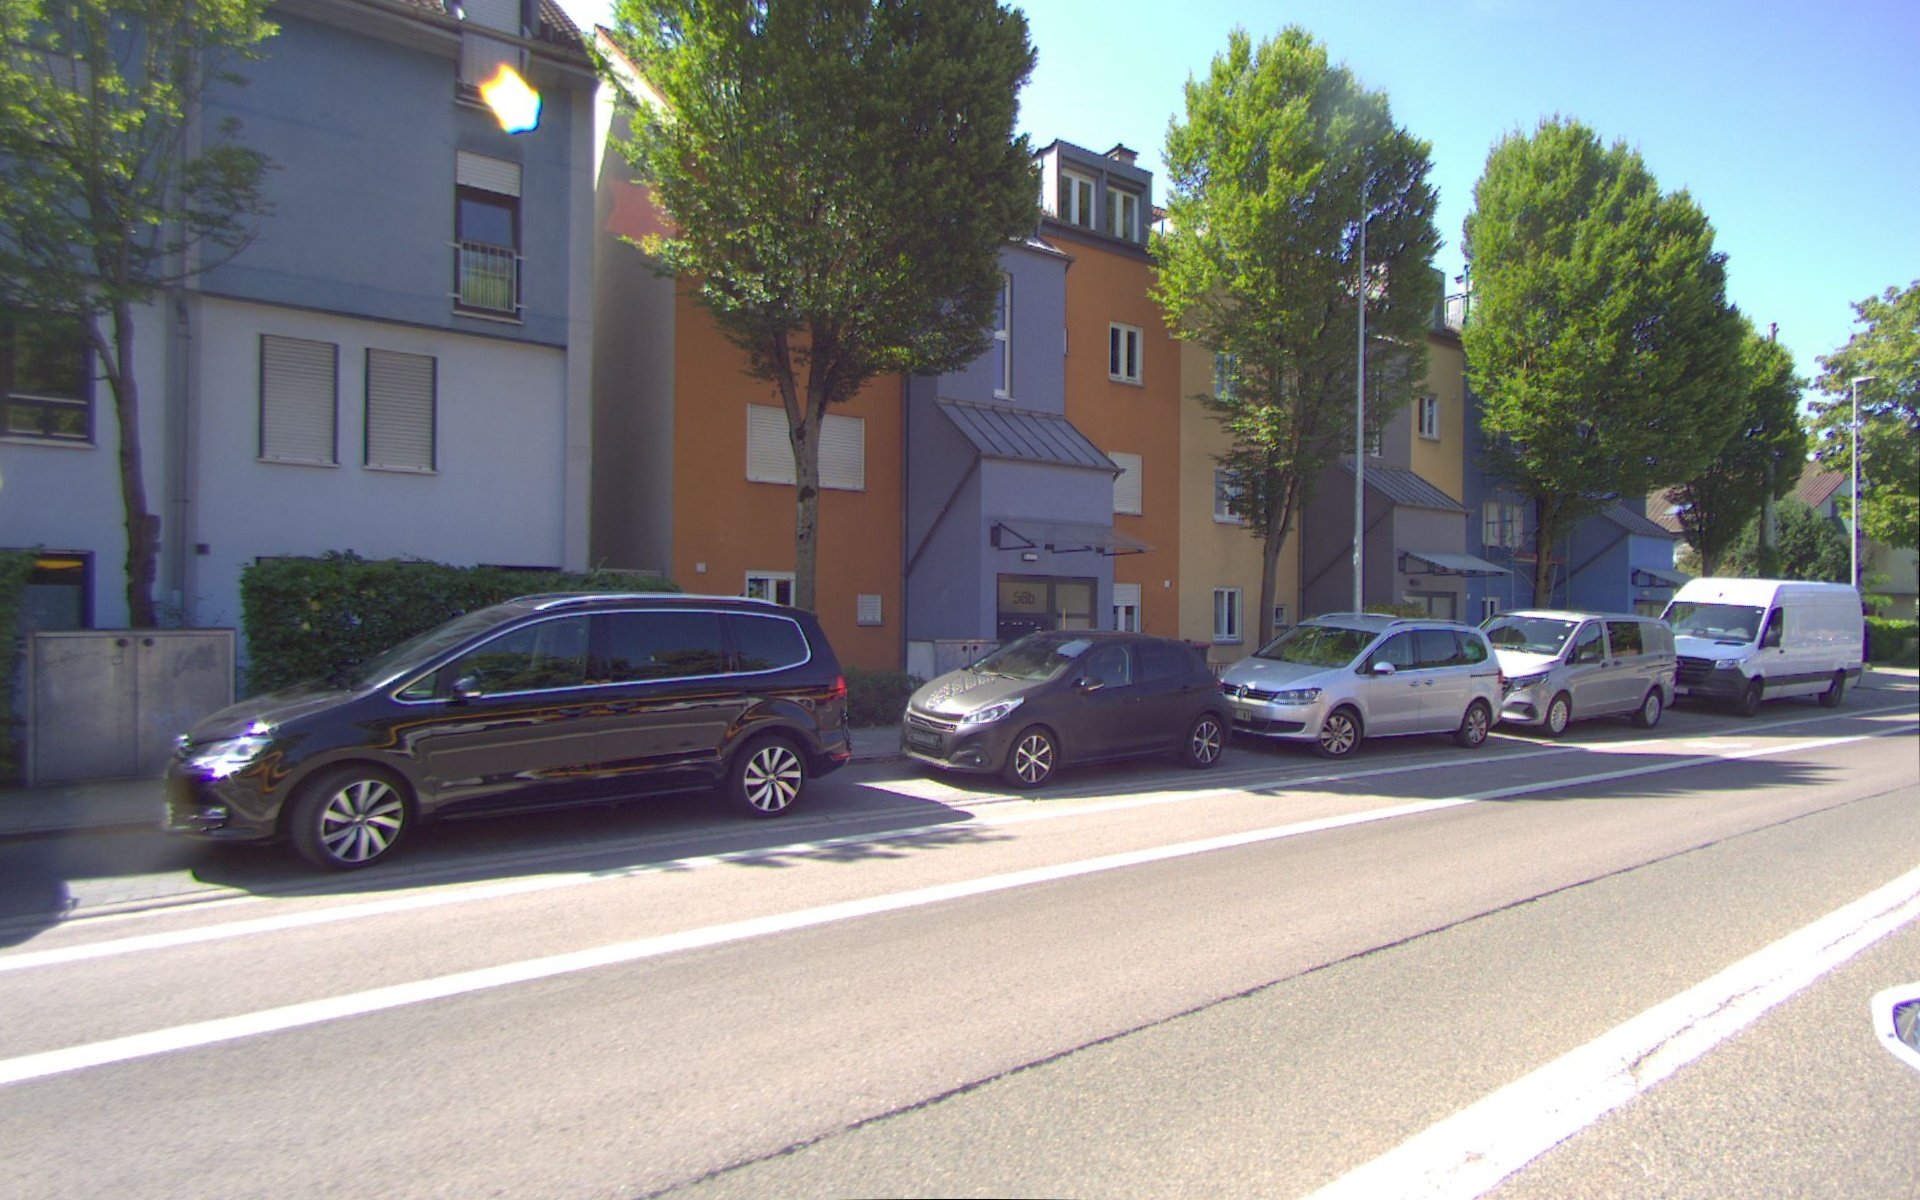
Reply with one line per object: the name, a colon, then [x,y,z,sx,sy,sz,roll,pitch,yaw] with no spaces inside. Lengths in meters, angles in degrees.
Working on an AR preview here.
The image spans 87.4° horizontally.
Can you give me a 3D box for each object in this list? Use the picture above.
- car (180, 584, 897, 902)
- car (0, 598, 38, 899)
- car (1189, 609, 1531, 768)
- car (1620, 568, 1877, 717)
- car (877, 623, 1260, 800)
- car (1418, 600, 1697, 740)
car: [-2.986,0.834,7.802,4.827,1.746,1.755,1,1,-39]
car: [-7.311,0.796,4.675,4.273,1.647,1.704,1,1,-38]
car: [5.518,1.075,13.621,4.856,1.748,1.790,1,2,-33]
car: [16.906,0.843,21.361,7.078,2.750,1.983,2,2,-33]
car: [1.269,1.062,10.904,4.009,1.494,1.678,1,2,-36]
car: [10.194,1.091,16.982,5.298,1.974,1.907,1,2,-34]
